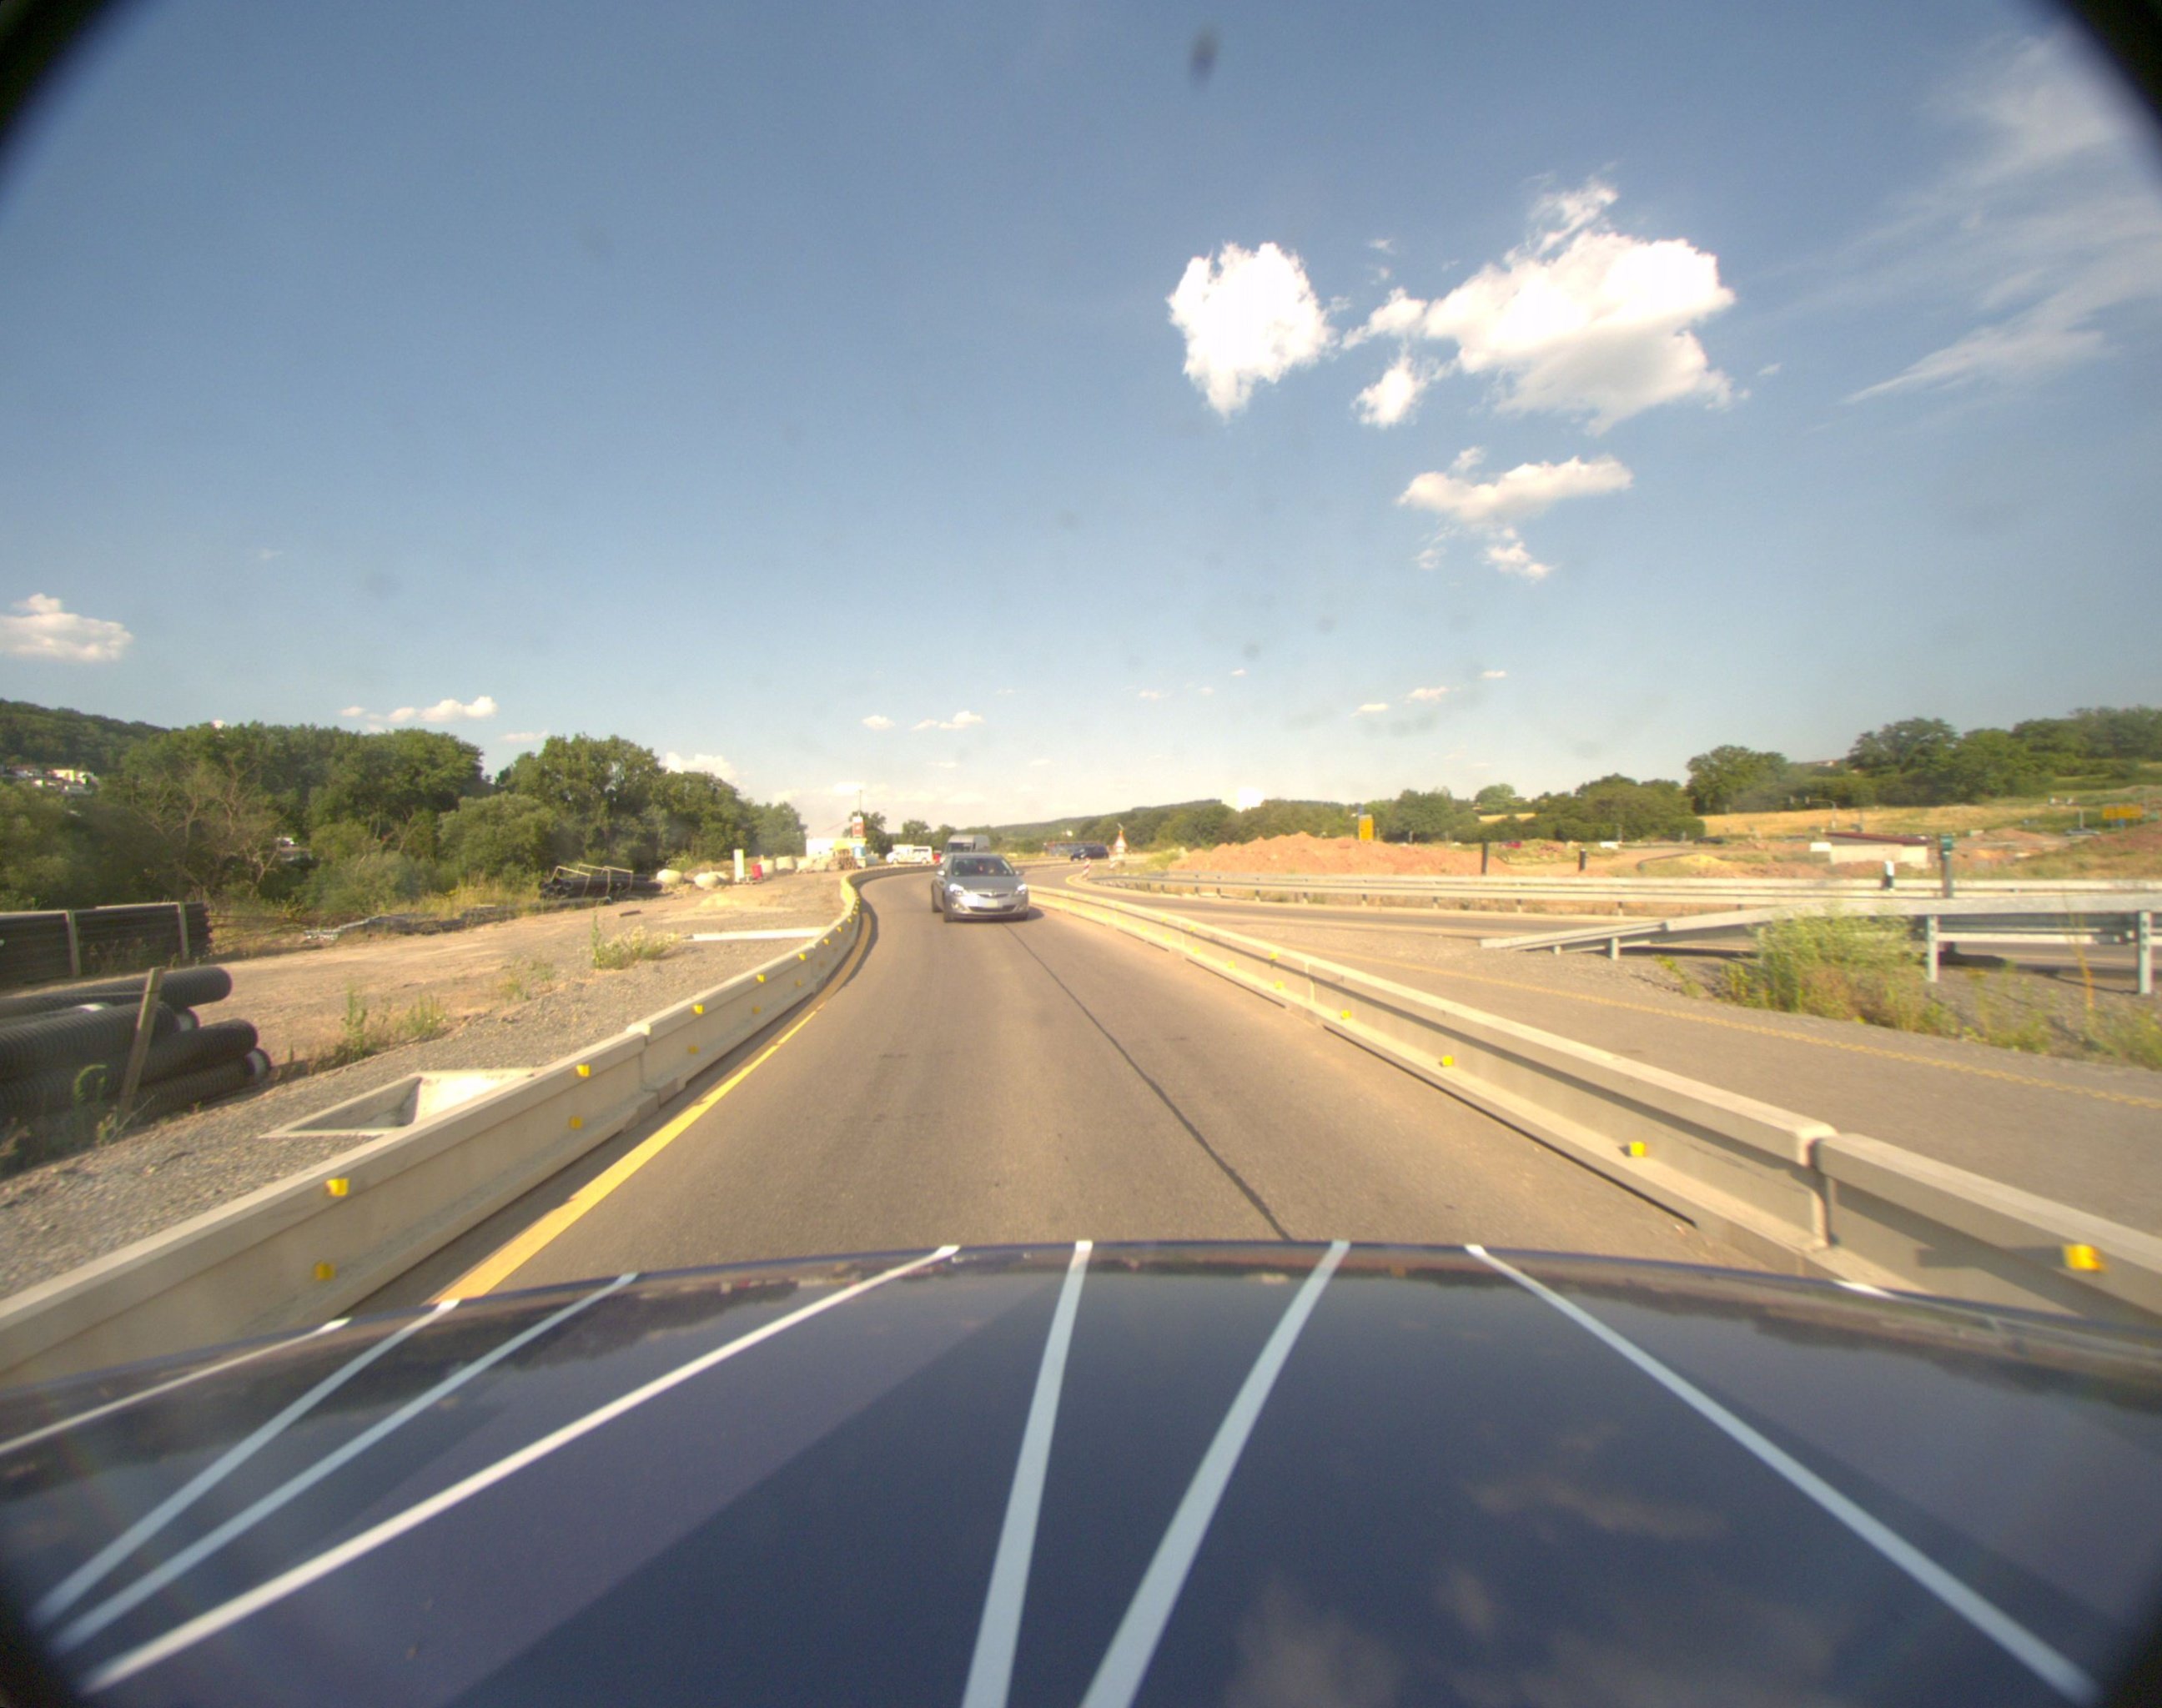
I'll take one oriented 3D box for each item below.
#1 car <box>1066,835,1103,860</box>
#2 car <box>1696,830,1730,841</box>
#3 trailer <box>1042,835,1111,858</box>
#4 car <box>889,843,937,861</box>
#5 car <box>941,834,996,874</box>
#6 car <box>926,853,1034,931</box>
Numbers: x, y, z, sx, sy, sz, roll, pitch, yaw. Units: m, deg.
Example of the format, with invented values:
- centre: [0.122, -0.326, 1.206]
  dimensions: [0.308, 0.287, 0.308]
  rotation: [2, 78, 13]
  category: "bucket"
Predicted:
- centre: [0.359, -0.677, 73.844]
  dimensions: [1.872, 2.390, 4.007]
  rotation: [0, 2, 28]
  category: "car"
- centre: [90.954, -2.633, 109.408]
  dimensions: [4.519, 1.511, 1.712]
  rotation: [-1, 3, -21]
  category: "car"
- centre: [-0.463, -0.879, 84.201]
  dimensions: [7.241, 2.400, 3.005]
  rotation: [-2, 1, -37]
  category: "trailer"
- centre: [-19.733, -0.266, 89.130]
  dimensions: [5.323, 2.067, 2.483]
  rotation: [-1, 2, -16]
  category: "car"
- centre: [-7.511, -0.069, 51.337]
  dimensions: [1.915, 2.487, 5.800]
  rotation: [-1, 1, 9]
  category: "car"
- centre: [-2.418, 0.755, 17.316]
  dimensions: [1.750, 1.476, 4.245]
  rotation: [-1, 1, -17]
  category: "car"
